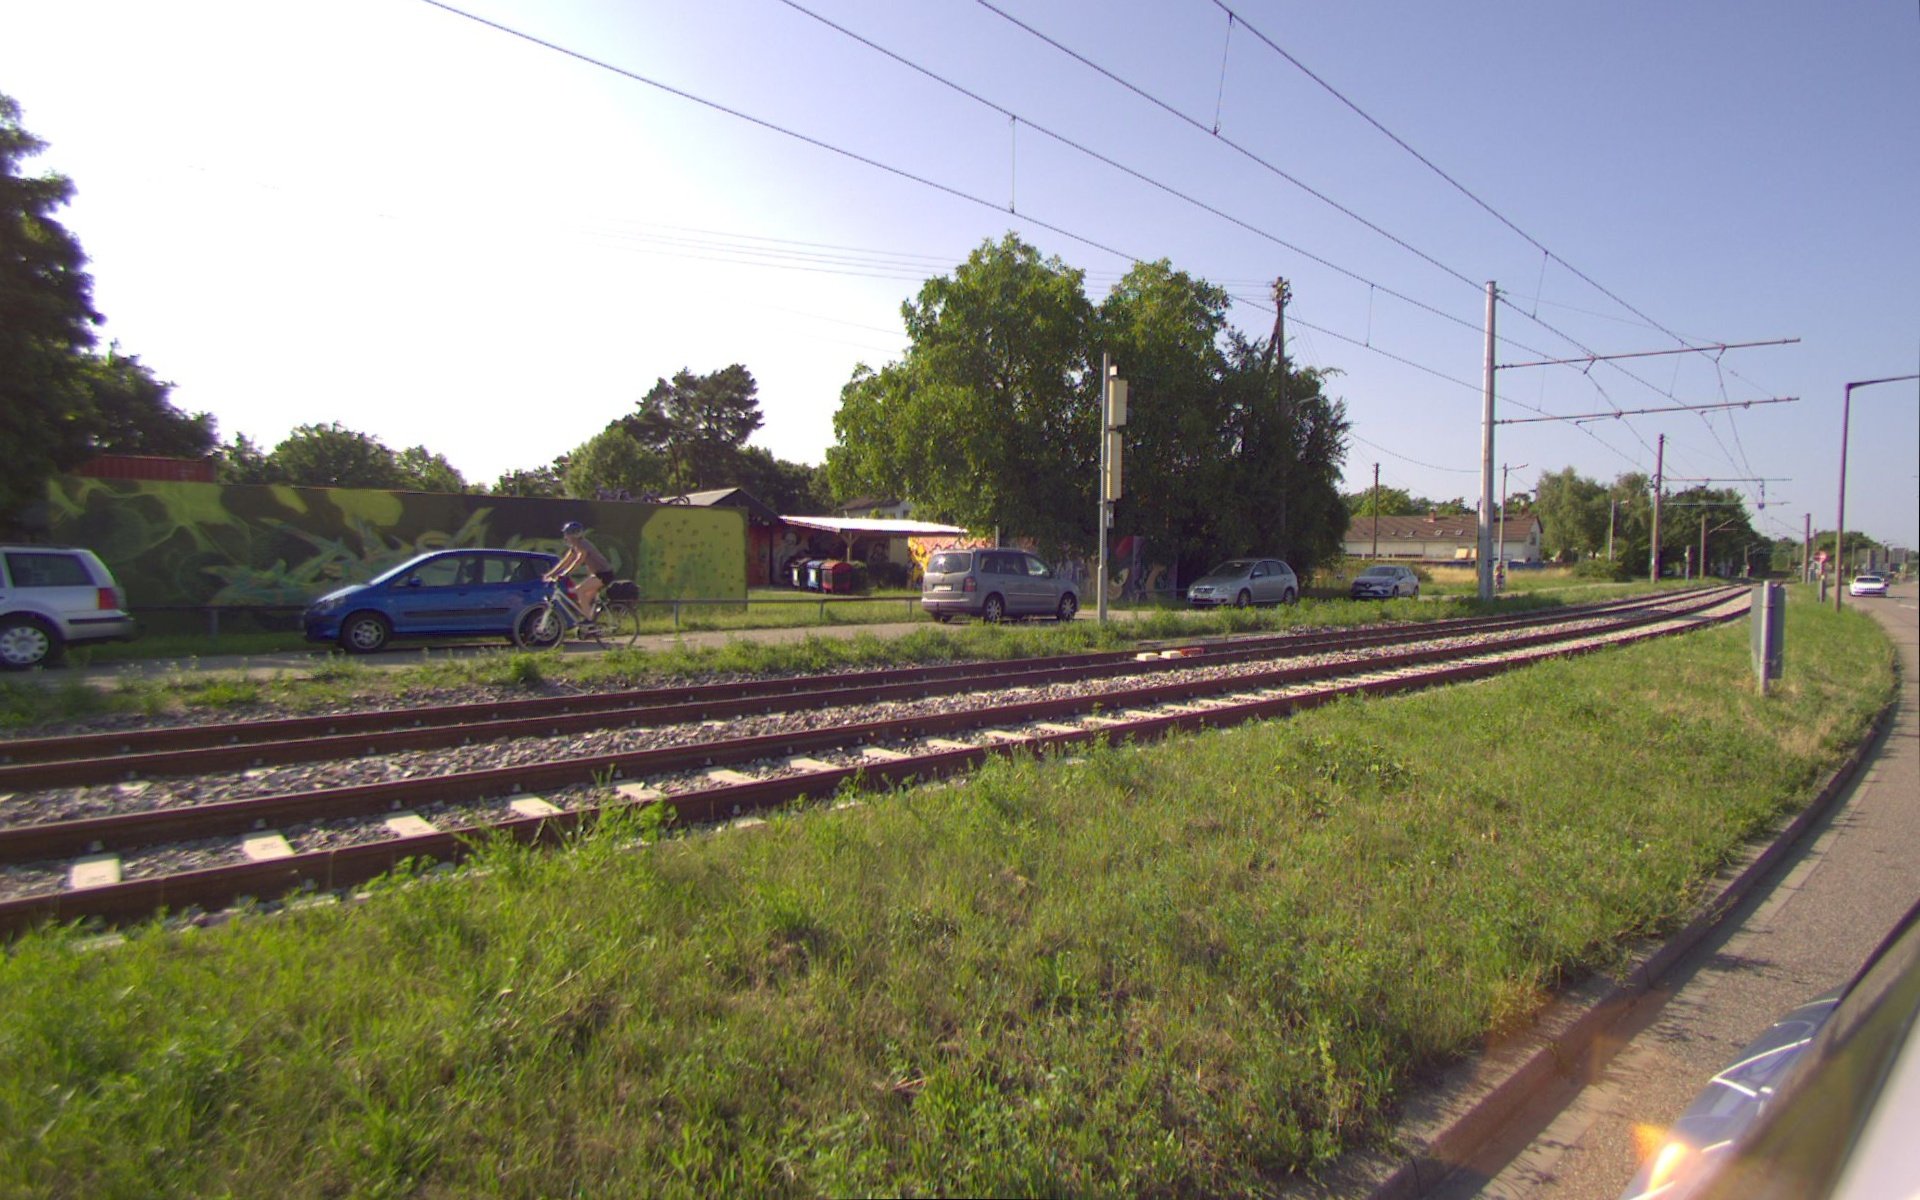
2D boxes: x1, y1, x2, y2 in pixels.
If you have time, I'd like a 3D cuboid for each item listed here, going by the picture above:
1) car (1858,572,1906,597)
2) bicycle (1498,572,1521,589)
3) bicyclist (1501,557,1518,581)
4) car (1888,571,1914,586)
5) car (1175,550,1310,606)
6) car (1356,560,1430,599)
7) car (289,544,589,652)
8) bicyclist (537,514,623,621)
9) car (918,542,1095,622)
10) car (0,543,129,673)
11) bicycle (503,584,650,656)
[{"bbox_3d":[61.986,-1.062,68.110,1.958,1.638,4.251,1,2,37],"label":"car"},{"bbox_3d":[29.384,-1.035,54.139,0.642,0.921,1.785,1,1,43],"label":"bicycle"},{"bbox_3d":[29.386,-1.650,54.129,0.639,1.248,0.779,1,1,43],"label":"bicyclist"},{"bbox_3d":[99.557,-2.294,107.088,1.830,1.532,4.093,0,1,40],"label":"car"},{"bbox_3d":[8.970,-0.708,31.901,4.647,1.609,1.910,-1,3,-43],"label":"car"},{"bbox_3d":[17.411,-0.842,40.639,1.533,1.466,4.070,3,3,41],"label":"car"},{"bbox_3d":[-7.876,-0.051,15.455,3.840,1.448,1.682,-1,0,-38],"label":"car"},{"bbox_3d":[-5.306,-0.448,14.140,0.946,1.440,0.630,-1,1,-43],"label":"bicyclist"},{"bbox_3d":[1.159,-0.435,23.004,1.522,1.630,4.415,3,3,43],"label":"car"},{"bbox_3d":[-12.280,0.069,11.551,4.312,1.483,1.713,-1,2,-40],"label":"car"},{"bbox_3d":[-5.326,0.249,14.135,1.813,0.921,0.643,-1,2,-44],"label":"bicycle"}]
